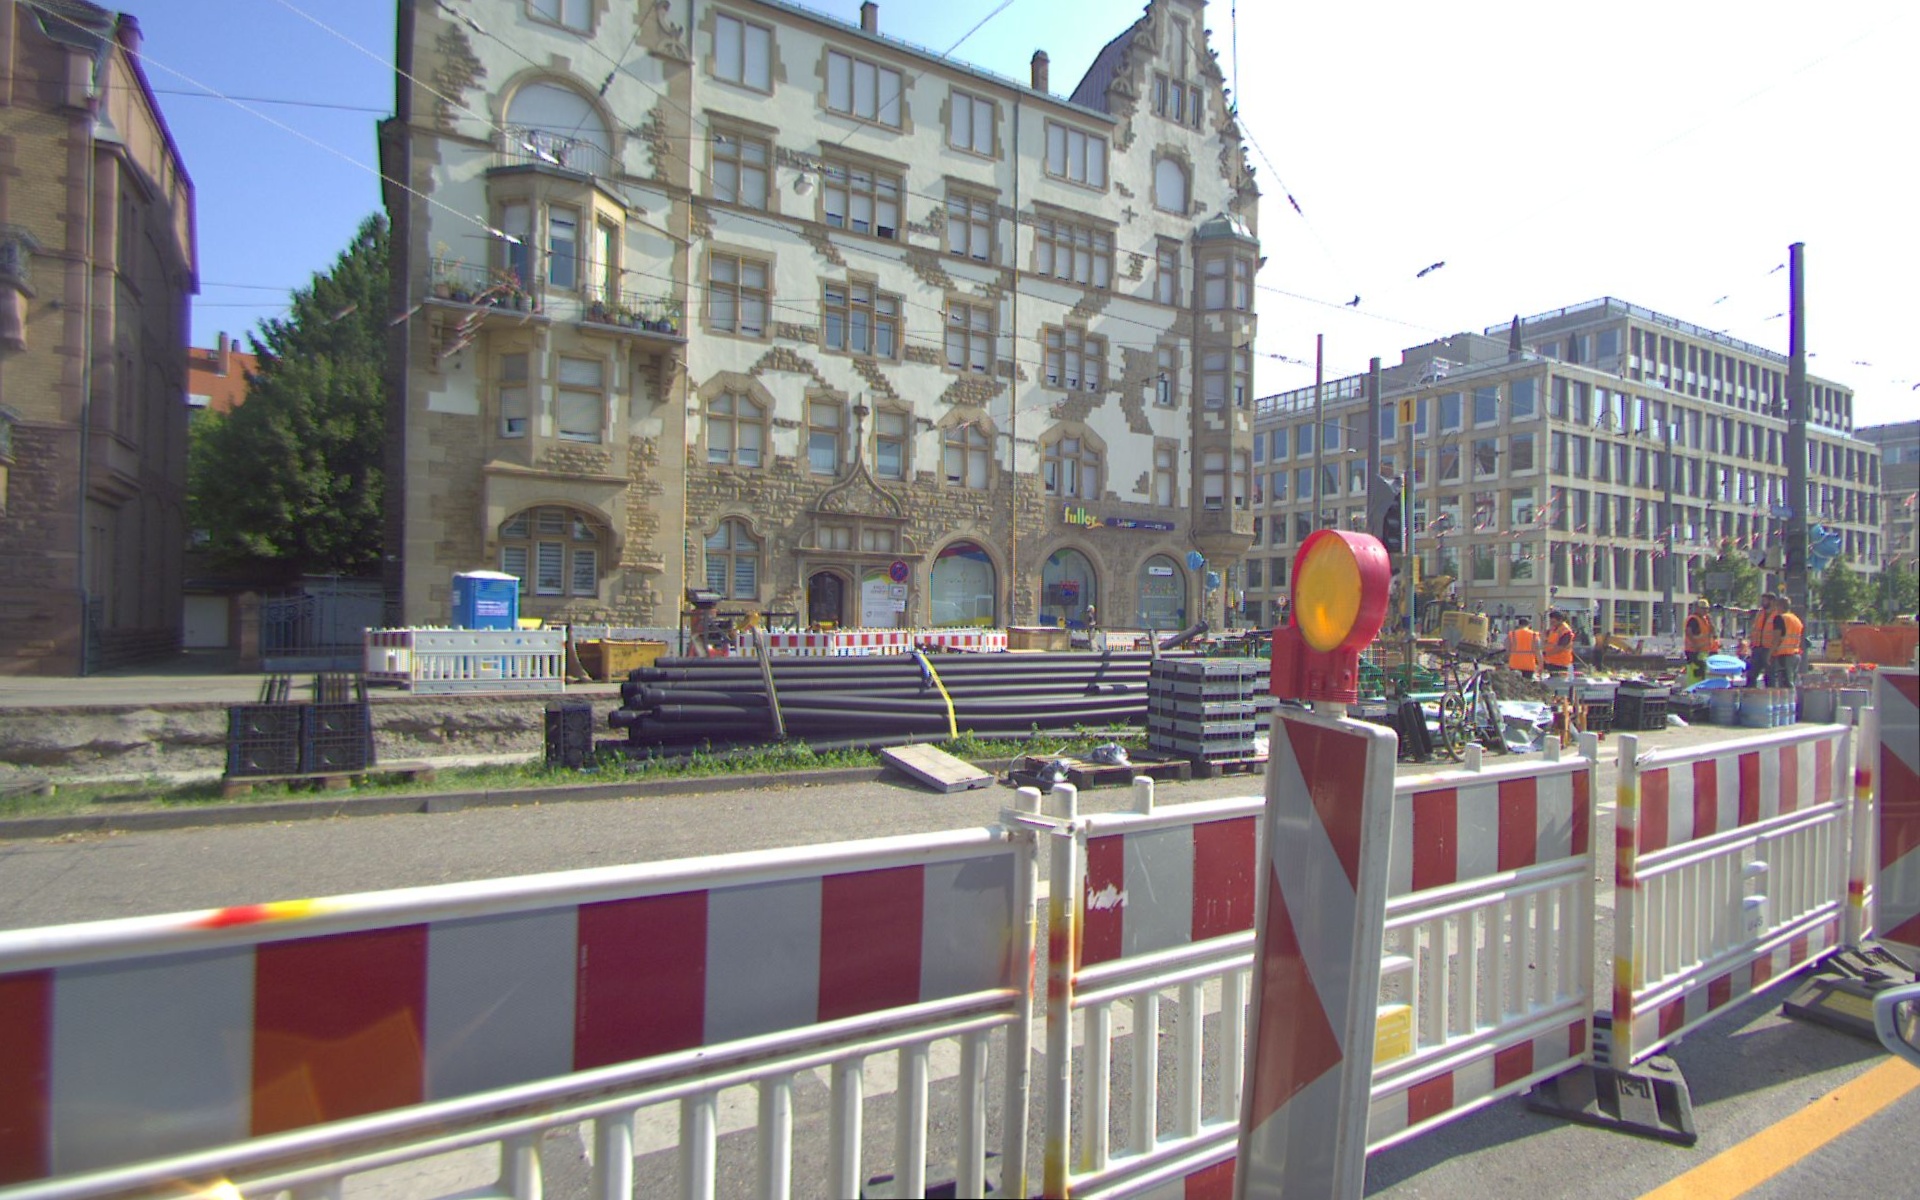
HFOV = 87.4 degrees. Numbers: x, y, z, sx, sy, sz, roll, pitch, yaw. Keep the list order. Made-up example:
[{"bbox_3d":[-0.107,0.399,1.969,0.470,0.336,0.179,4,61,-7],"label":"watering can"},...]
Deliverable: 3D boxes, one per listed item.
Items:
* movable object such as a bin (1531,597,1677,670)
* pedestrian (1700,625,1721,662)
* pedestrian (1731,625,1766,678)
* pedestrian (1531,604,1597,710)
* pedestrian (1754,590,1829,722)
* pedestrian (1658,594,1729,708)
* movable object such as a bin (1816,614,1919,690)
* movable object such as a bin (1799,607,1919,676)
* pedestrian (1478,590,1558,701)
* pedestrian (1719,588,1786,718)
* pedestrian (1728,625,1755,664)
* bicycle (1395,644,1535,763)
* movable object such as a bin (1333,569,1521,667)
[{"bbox_3d":[26.696,1.363,41.867,4.723,2.872,2.449,0,-2,23],"label":"movable object such as a bin"},{"bbox_3d":[39.006,2.256,52.198,0.804,1.889,0.746,2,-1,-42],"label":"pedestrian"},{"bbox_3d":[29.336,1.916,37.370,0.712,1.938,0.785,1,-1,-21],"label":"pedestrian"},{"bbox_3d":[10.755,0.996,17.909,0.813,1.833,0.755,0,-2,15],"label":"pedestrian"},{"bbox_3d":[12.671,0.835,15.322,0.700,1.952,0.685,0,-2,23],"label":"pedestrian"},{"bbox_3d":[12.543,0.871,17.196,0.698,1.895,0.718,1,-2,-22],"label":"pedestrian"},{"bbox_3d":[20.871,1.139,22.487,3.246,1.579,1.593,2,-2,-29],"label":"movable object such as a bin"},{"bbox_3d":[44.540,2.033,48.456,8.379,2.997,3.595,3,-1,-31],"label":"movable object such as a bin"},{"bbox_3d":[9.550,0.783,17.221,0.870,1.840,0.828,1,-2,-15],"label":"pedestrian"},{"bbox_3d":[12.814,0.842,16.265,0.683,2.042,0.674,0,-2,23],"label":"pedestrian"},{"bbox_3d":[38.878,2.224,49.971,0.804,1.889,0.915,2,-1,-41],"label":"pedestrian"},{"bbox_3d":[5.291,1.041,10.464,1.952,1.113,0.557,3,-1,-40],"label":"bicycle"},{"bbox_3d":[23.202,0.972,50.415,4.890,4.404,7.356,2,-2,-17],"label":"movable object such as a bin"}]
